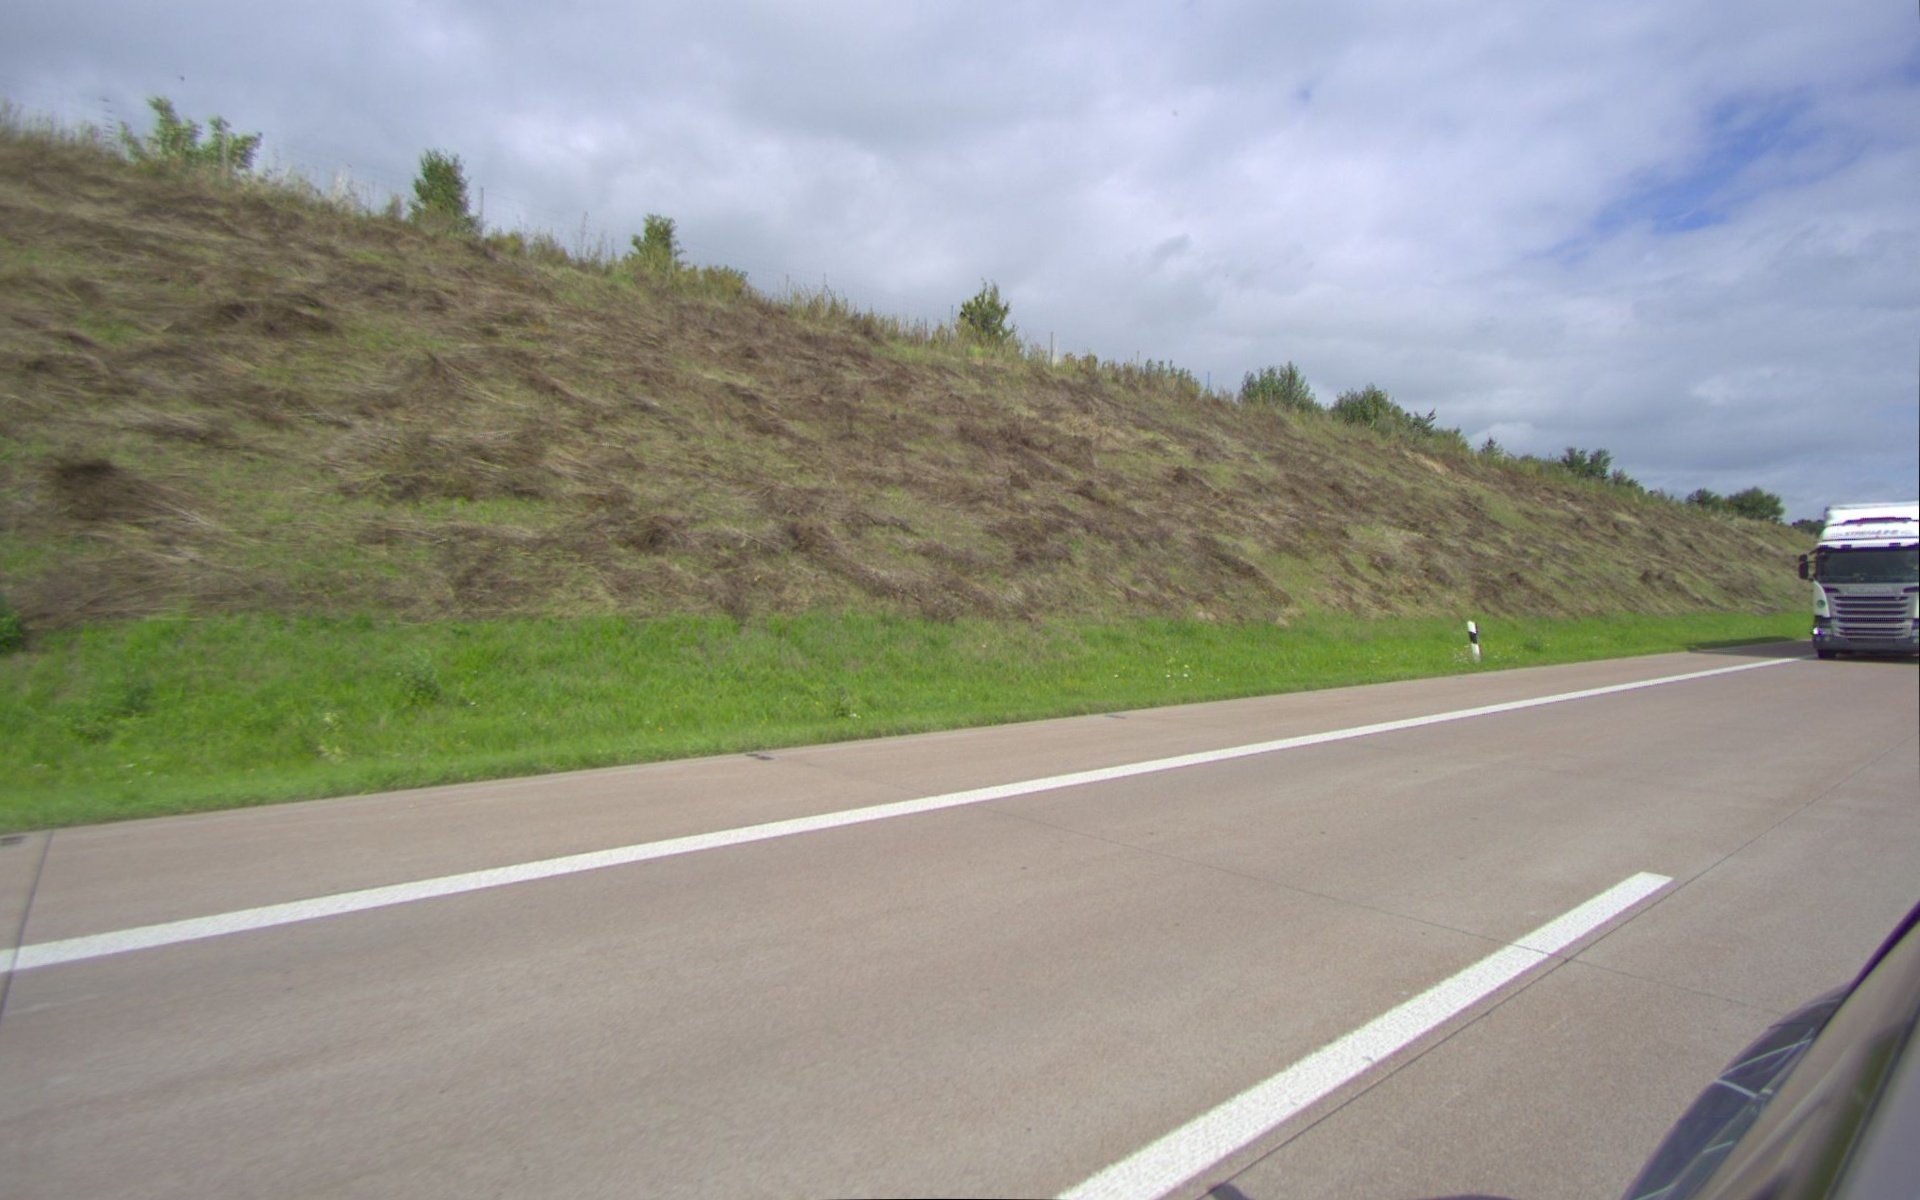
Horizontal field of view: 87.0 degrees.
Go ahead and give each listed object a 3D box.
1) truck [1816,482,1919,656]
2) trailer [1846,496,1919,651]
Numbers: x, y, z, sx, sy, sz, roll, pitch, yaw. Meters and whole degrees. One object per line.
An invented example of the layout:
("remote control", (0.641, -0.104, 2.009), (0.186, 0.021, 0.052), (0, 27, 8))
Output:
("truck", (25.014, -0.742, 26.727), (6.500, 4.157, 2.679), (0, 0, -41))
("trailer", (30.433, -0.715, 31.447), (12.564, 4.145, 2.677), (0, 0, -41))
